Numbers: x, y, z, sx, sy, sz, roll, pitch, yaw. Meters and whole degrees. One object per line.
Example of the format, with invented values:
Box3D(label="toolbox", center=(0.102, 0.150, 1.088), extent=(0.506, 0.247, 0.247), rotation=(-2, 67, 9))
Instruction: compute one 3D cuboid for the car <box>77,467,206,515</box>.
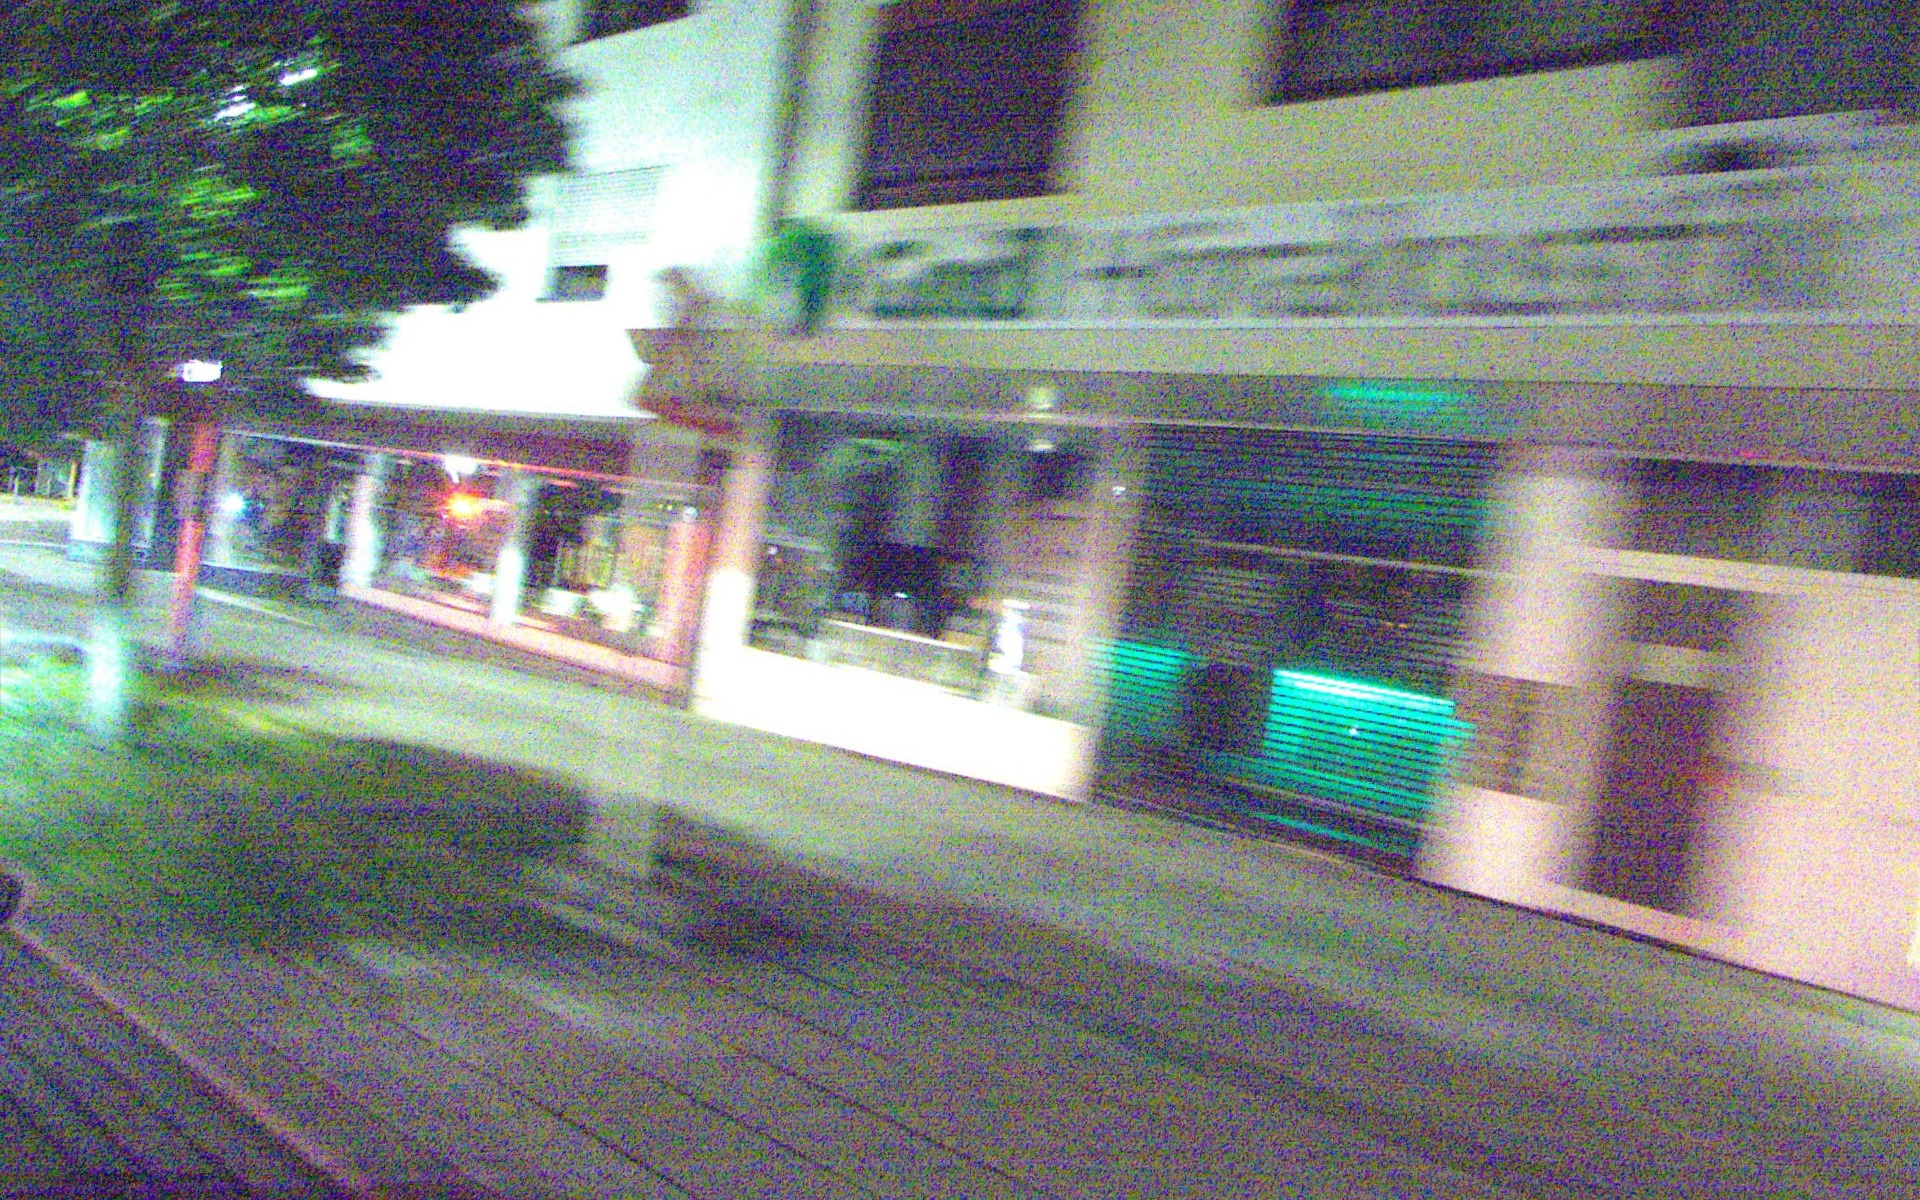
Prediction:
Box3D(label="car", center=(-35.472, -4.713, 43.676), extent=(1.799, 1.472, 4.035), rotation=(8, 3, 40))
